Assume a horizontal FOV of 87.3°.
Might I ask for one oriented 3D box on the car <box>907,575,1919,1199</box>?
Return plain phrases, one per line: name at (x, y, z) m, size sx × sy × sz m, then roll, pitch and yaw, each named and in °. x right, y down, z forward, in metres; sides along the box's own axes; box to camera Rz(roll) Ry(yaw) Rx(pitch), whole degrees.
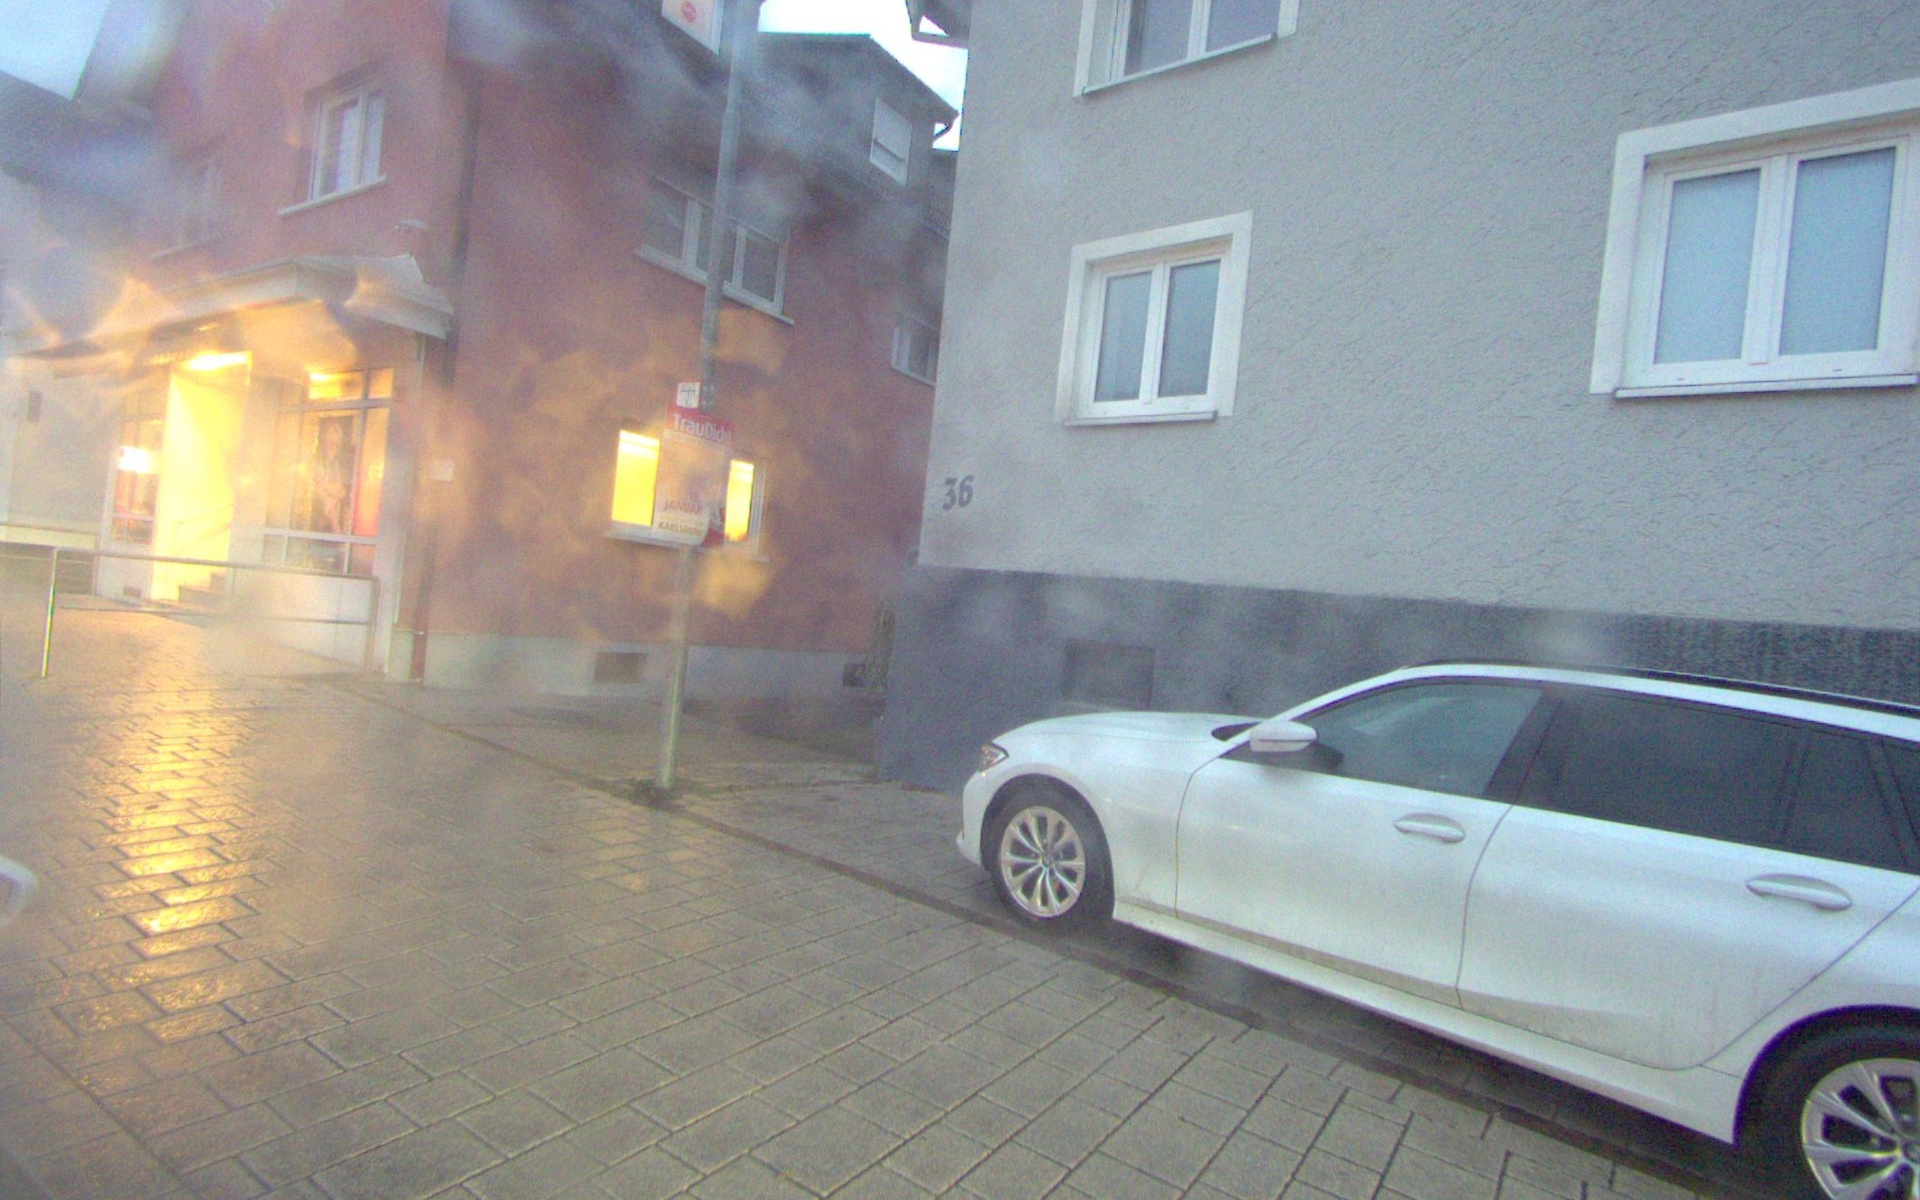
car at (2.098, 0.892, 4.043) m, size 4.478 × 1.485 × 1.880 m, roll 7°, pitch 1°, yaw 41°
